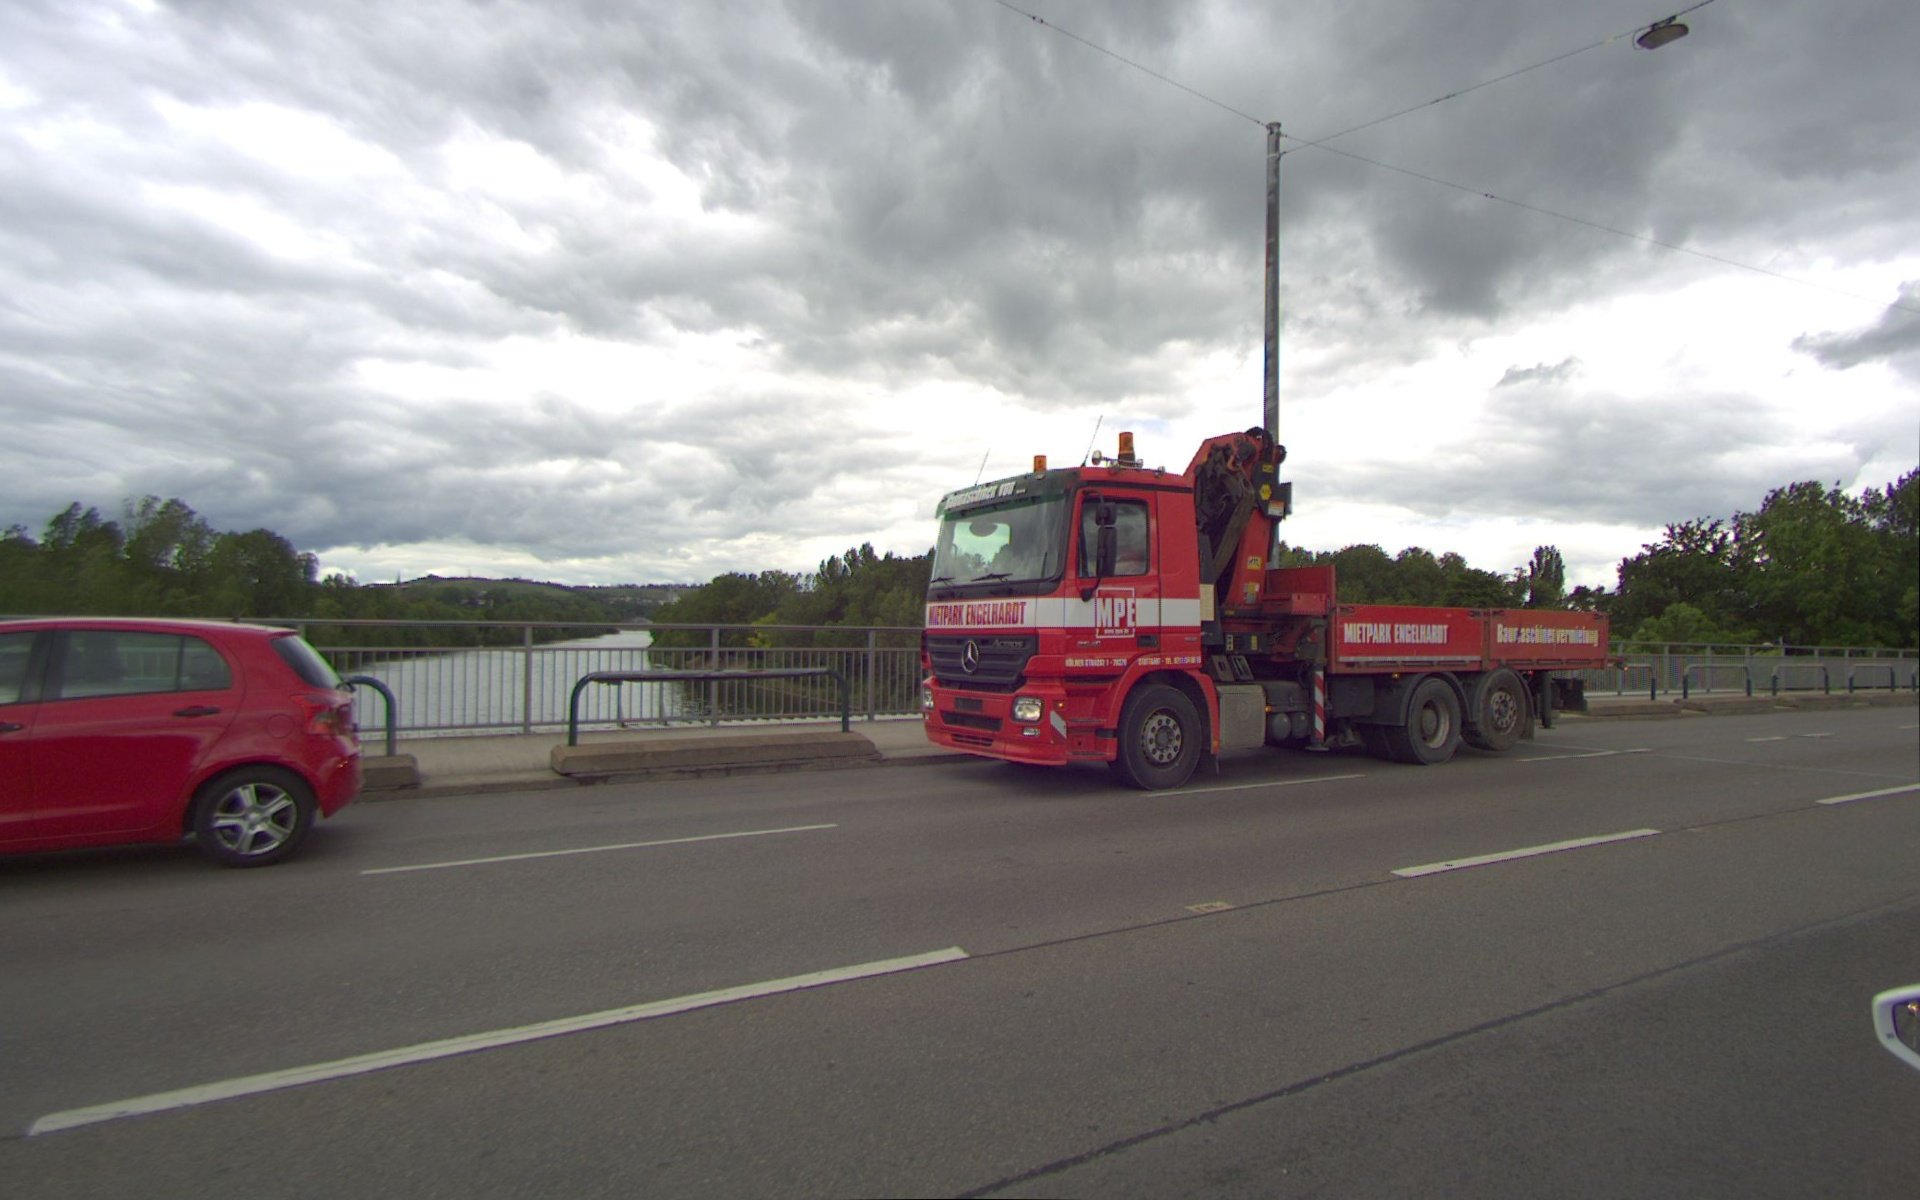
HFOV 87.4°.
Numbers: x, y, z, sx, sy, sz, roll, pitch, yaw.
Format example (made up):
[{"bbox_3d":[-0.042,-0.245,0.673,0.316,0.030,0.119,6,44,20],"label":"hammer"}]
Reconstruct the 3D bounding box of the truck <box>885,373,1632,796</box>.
[{"bbox_3d":[4.153,0.031,12.427,9.867,3.612,2.991,2,-2,-31],"label":"truck"}]

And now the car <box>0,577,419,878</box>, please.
[{"bbox_3d":[-5.655,0.714,6.235,3.969,1.624,1.871,2,-2,-31],"label":"car"}]
